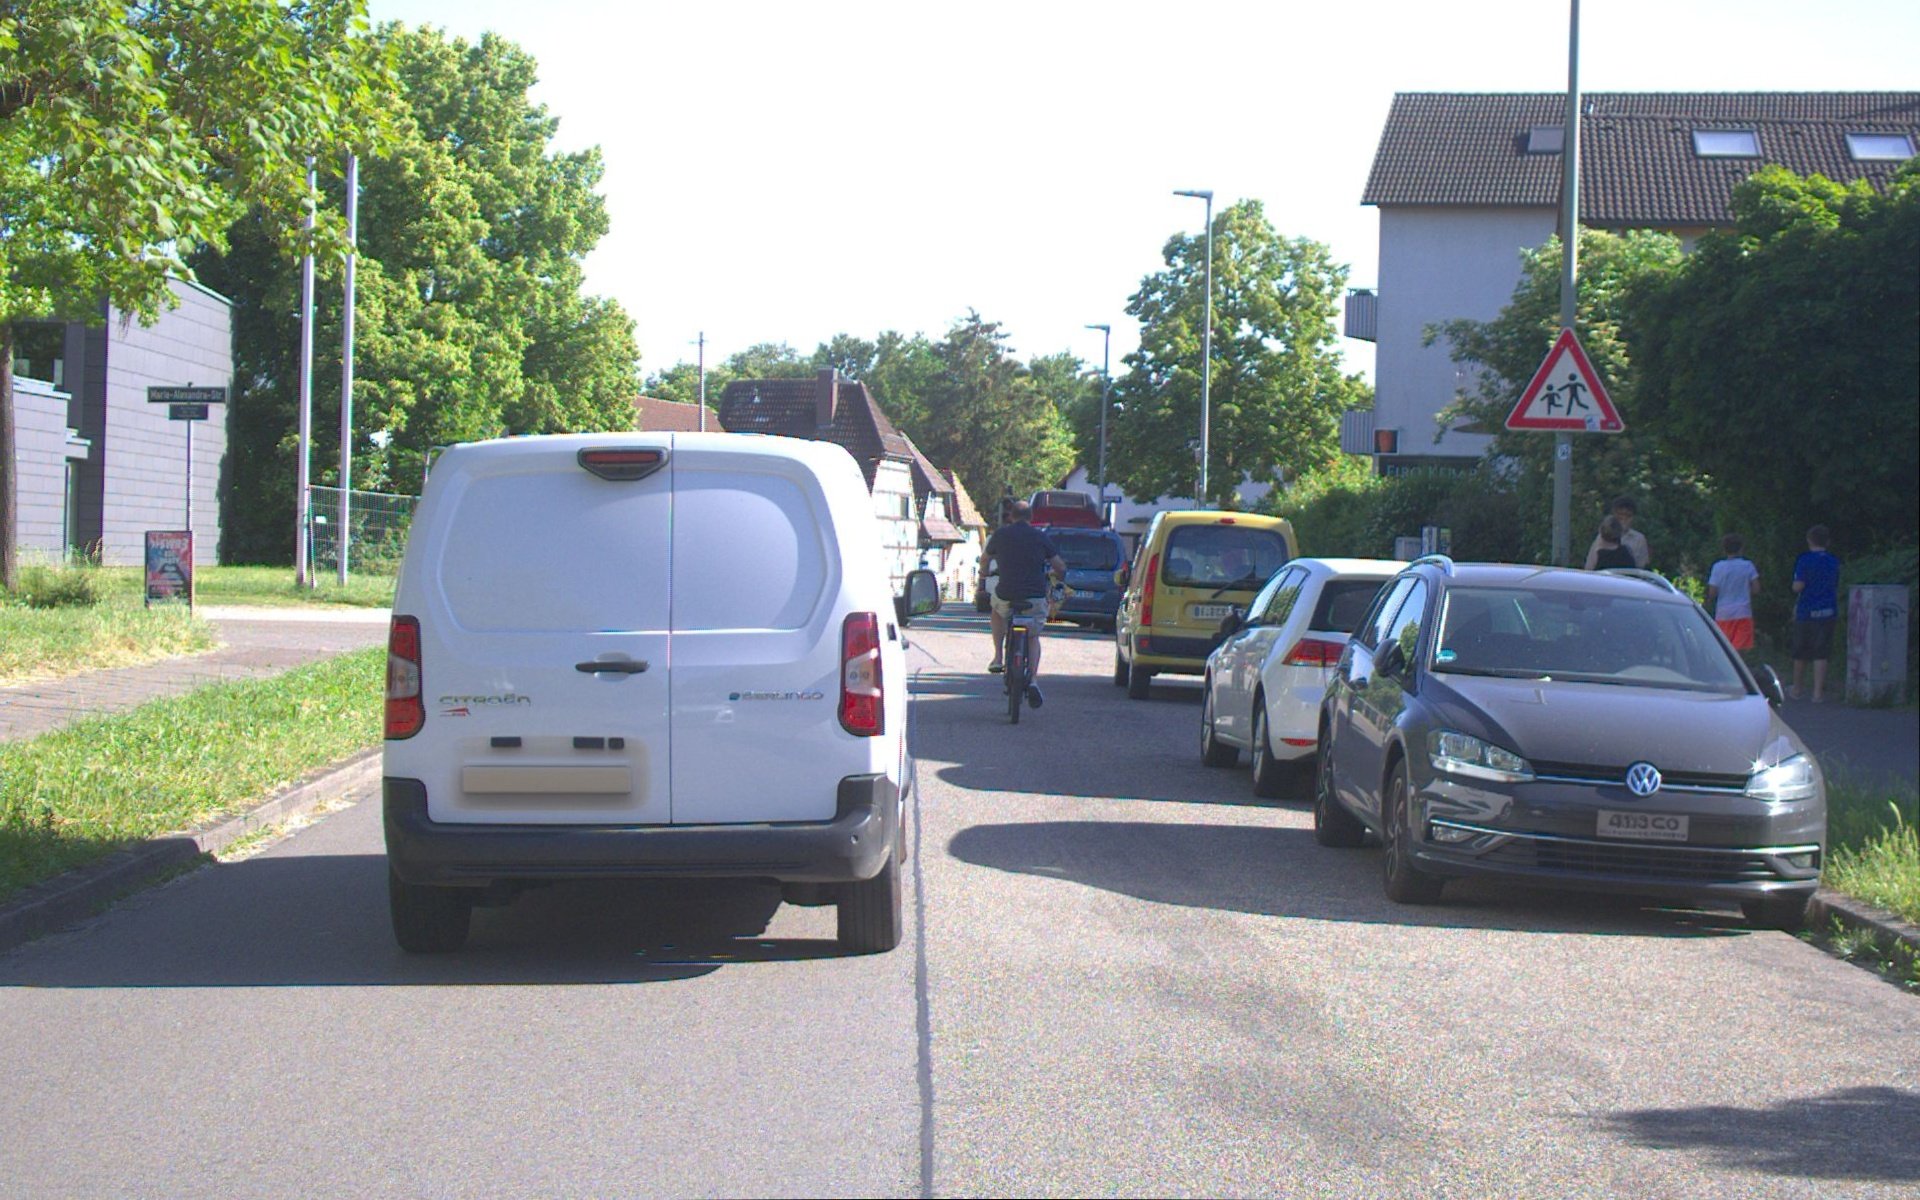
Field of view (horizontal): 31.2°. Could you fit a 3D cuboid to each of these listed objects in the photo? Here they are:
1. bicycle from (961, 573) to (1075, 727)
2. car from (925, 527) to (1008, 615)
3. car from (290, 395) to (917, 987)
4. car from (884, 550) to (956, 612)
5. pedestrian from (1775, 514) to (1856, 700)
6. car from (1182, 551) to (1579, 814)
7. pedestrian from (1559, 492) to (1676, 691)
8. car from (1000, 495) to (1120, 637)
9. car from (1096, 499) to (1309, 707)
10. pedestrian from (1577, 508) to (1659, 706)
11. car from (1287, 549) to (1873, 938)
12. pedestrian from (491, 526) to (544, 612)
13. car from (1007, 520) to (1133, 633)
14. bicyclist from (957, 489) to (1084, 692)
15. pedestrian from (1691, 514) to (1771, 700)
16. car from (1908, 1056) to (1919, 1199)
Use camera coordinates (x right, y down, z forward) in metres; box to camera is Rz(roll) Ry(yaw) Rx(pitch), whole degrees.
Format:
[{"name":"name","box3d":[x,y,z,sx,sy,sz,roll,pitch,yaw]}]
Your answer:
[{"name":"bicycle","box3d":[0.448,0.380,27.739,0.787,1.134,2.280,2,1,-2]},{"name":"car","box3d":[0.140,-0.723,86.538,1.804,2.061,4.000,4,0,-2]},{"name":"car","box3d":[-1.193,0.249,13.356,1.993,1.875,4.289,2,1,-1]},{"name":"car","box3d":[-1.289,-0.595,111.596,1.804,1.836,3.999,4,0,6]},{"name":"pedestrian","box3d":[7.651,0.058,30.750,0.567,1.631,0.546,2,1,5]},{"name":"car","box3d":[2.548,0.447,21.765,1.826,1.447,4.000,2,1,-2]},{"name":"pedestrian","box3d":[6.272,-0.086,32.825,0.793,1.855,0.874,2,1,-8]},{"name":"car","box3d":[1.910,-0.654,67.042,1.866,2.553,4.768,4,0,-2]},{"name":"car","box3d":[2.295,0.001,33.427,1.724,1.831,4.000,2,1,0]},{"name":"pedestrian","box3d":[5.532,0.053,28.906,0.567,1.631,0.546,2,1,5]},{"name":"car","box3d":[2.654,0.536,15.761,1.807,1.438,4.364,2,1,-1]},{"name":"pedestrian","box3d":[-7.736,-0.543,60.084,0.510,1.441,0.638,5,1,32]},{"name":"car","box3d":[1.881,-0.400,59.929,1.804,1.779,4.000,4,0,-2]},{"name":"bicyclist","box3d":[0.479,-0.078,27.693,0.905,1.579,0.966,2,0,-2]},{"name":"pedestrian","box3d":[6.903,0.058,30.797,0.567,1.631,0.546,2,1,5]},{"name":"car","box3d":[2.855,0.767,4.676,1.679,1.594,4.029,5,0,-4]}]
